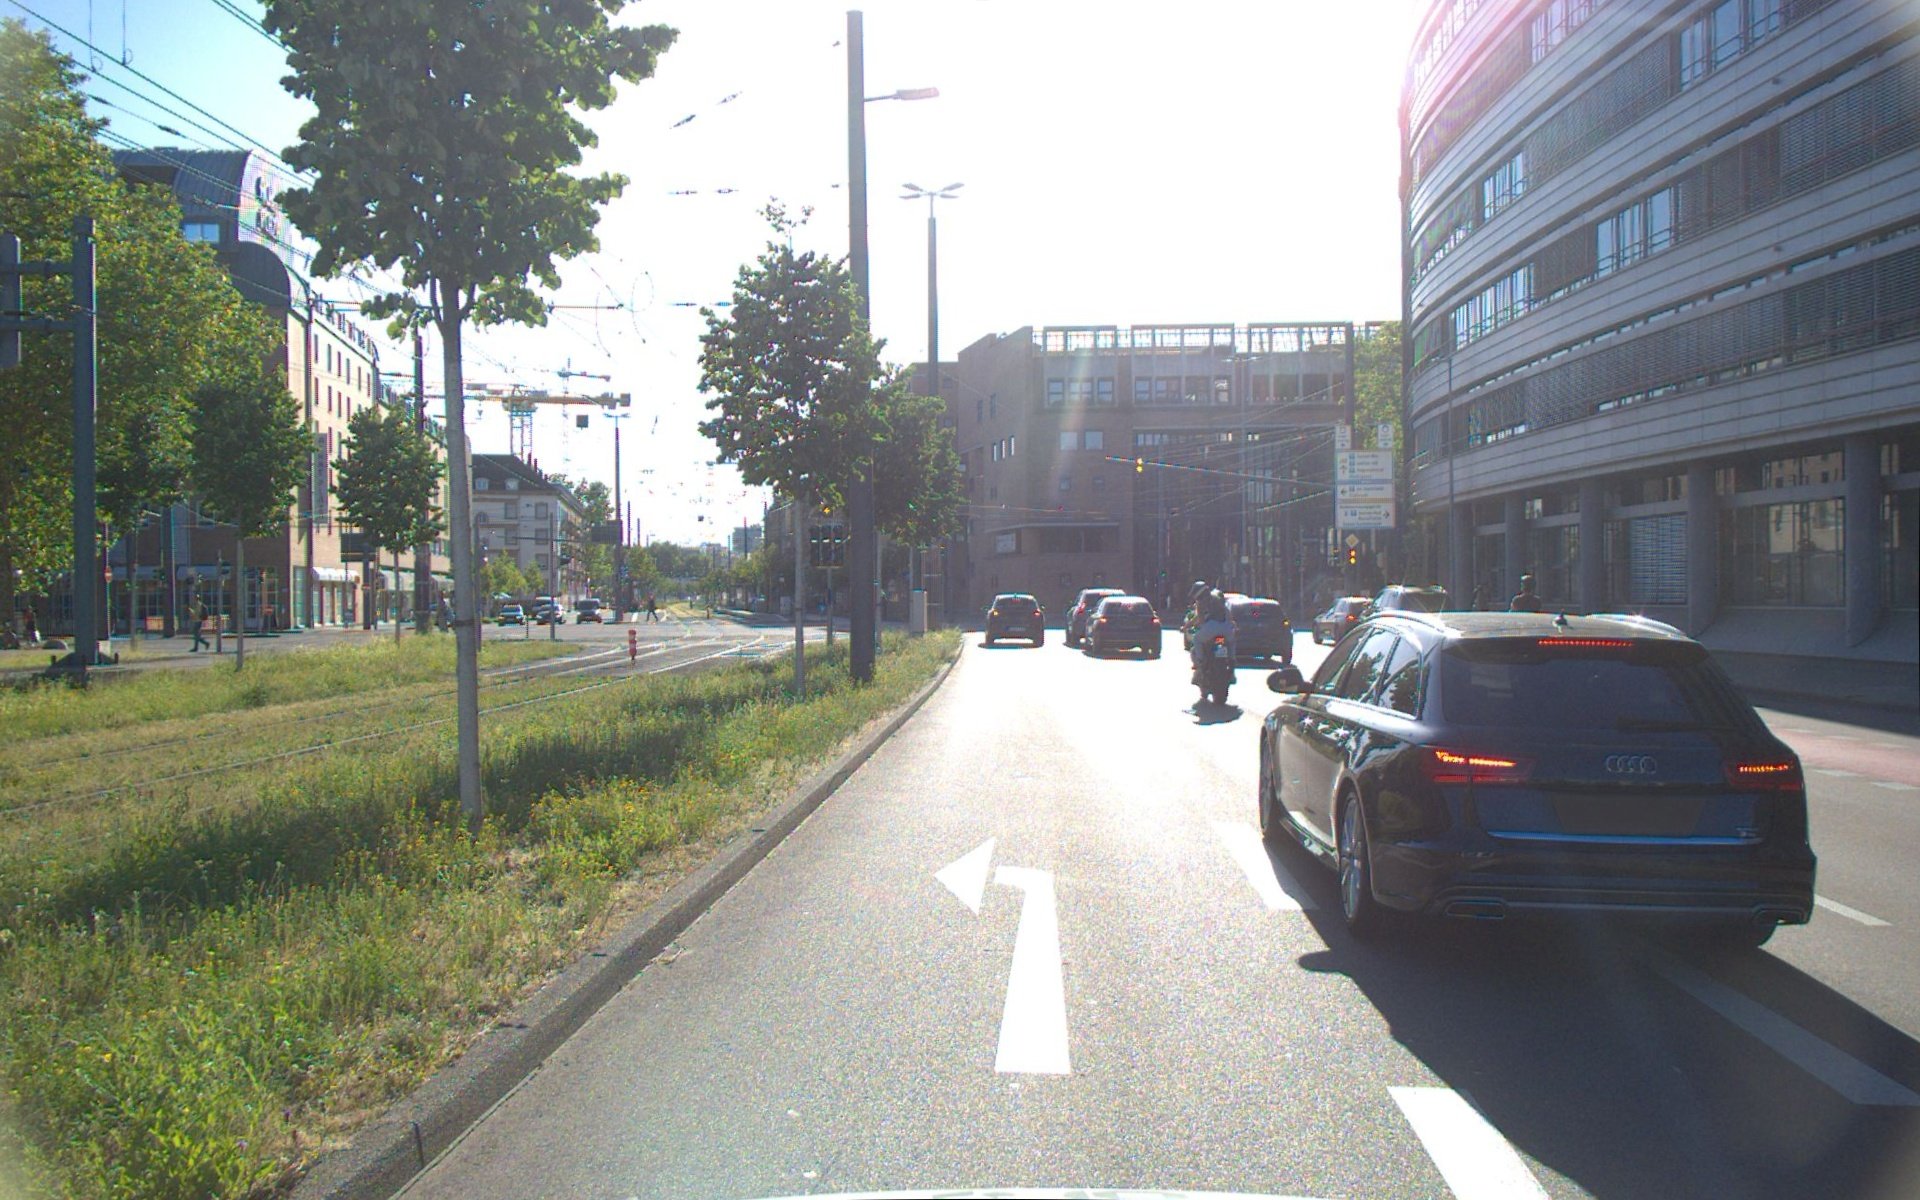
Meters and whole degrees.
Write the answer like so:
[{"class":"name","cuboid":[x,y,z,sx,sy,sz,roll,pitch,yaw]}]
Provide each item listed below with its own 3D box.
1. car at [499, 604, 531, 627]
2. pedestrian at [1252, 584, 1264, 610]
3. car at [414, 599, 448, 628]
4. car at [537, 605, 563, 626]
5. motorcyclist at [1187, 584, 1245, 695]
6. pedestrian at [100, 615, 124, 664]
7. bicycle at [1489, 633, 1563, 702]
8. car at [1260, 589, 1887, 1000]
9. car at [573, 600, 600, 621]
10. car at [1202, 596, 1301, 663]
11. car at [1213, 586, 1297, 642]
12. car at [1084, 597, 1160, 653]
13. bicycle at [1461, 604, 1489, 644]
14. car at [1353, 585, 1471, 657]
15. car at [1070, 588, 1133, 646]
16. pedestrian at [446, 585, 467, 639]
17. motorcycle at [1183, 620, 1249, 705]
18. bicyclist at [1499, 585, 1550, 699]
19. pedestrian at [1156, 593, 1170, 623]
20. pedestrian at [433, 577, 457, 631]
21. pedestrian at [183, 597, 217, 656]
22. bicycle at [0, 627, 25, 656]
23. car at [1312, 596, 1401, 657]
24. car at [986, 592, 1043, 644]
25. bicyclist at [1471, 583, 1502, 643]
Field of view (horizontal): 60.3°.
[{"class":"car","cuboid":[-32.871,1.115,122.250,1.958,1.624,4.724,-1,0,-12]},{"class":"pedestrian","cuboid":[16.739,-0.173,92.938,0.518,1.455,0.598,-1,0,1]},{"class":"car","cuboid":[-38.215,0.965,119.553,1.958,2.049,3.988,-1,0,-12]},{"class":"car","cuboid":[-30.338,1.130,122.245,1.716,1.531,3.863,-1,0,-16]},{"class":"motorcyclist","cuboid":[3.650,0.554,23.672,0.729,1.557,1.021,-1,0,4]},{"class":"pedestrian","cuboid":[-36.120,1.673,70.441,0.652,2.049,0.678,-1,0,2]},{"class":"bicycle","cuboid":[9.181,1.070,26.885,0.481,1.015,2.329,-1,0,2]},{"class":"car","cuboid":[2.733,0.727,8.538,1.773,1.518,4.498,1,0,3]},{"class":"car","cuboid":[-27.385,0.756,121.312,1.716,1.531,3.863,-1,0,-16]},{"class":"car","cuboid":[6.887,0.658,39.388,1.770,1.483,4.001,1,0,2]},{"class":"car","cuboid":[8.190,0.357,46.214,1.770,1.483,4.001,1,0,2]},{"class":"car","cuboid":[4.164,0.619,42.990,1.701,1.373,4.001,0,0,2]},{"class":"bicycle","cuboid":[14.487,0.659,46.553,0.493,1.076,1.703,-3,-1,10]},{"class":"car","cuboid":[11.938,0.519,43.950,1.952,1.780,4.329,-1,0,0]},{"class":"car","cuboid":[4.233,0.497,49.904,1.701,1.680,4.001,0,0,2]},{"class":"pedestrian","cuboid":[-17.553,0.419,57.630,0.552,1.849,0.662,-1,0,-5]},{"class":"motorcycle","cuboid":[3.666,0.874,23.819,0.759,1.135,1.970,-1,0,4]},{"class":"bicyclist","cuboid":[9.185,0.667,26.933,0.565,1.822,0.864,-1,0,3]},{"class":"pedestrian","cuboid":[12.369,0.470,100.580,0.692,1.789,0.560,-1,0,26]},{"class":"pedestrian","cuboid":[-17.658,0.137,56.697,0.619,1.862,0.662,-1,0,-5]},{"class":"pedestrian","cuboid":[-26.640,0.936,57.968,0.717,2.049,0.838,1,0,5]},{"class":"bicycle","cuboid":[-32.833,1.417,56.229,1.731,0.968,0.540,-1,0,-6]},{"class":"car","cuboid":[11.516,0.744,48.245,1.951,1.680,4.003,-1,0,5]},{"class":"car","cuboid":[1.625,0.514,49.302,1.615,1.458,4.001,0,0,2]},{"class":"bicyclist","cuboid":[14.867,0.361,46.713,0.669,1.646,0.992,-1,0,10]}]
